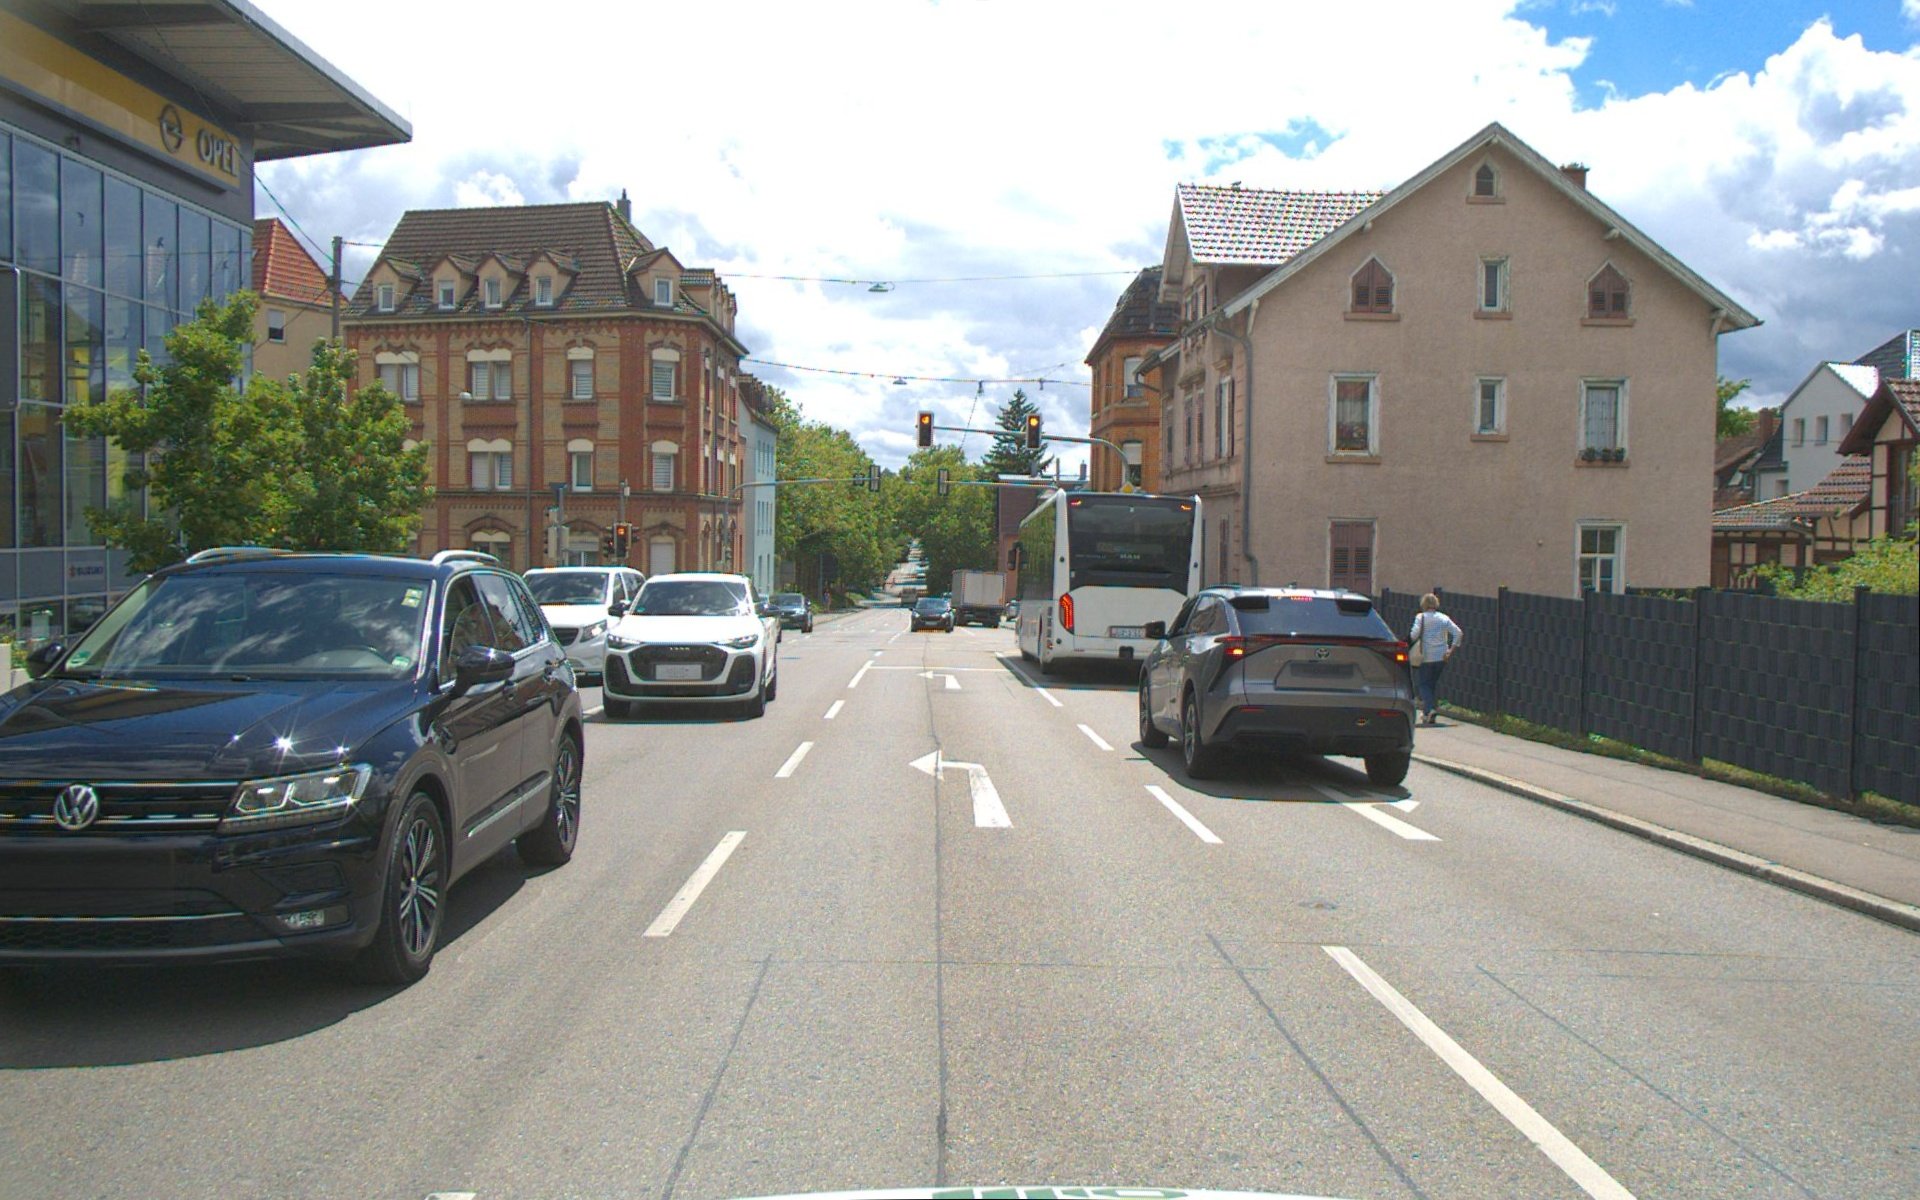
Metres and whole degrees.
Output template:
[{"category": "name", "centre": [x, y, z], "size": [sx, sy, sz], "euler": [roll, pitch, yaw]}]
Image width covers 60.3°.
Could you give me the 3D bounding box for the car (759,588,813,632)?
[{"category": "car", "centre": [-6.885, 0.373, 65.790], "size": [1.826, 1.695, 4.258], "euler": [0, 1, -2]}]

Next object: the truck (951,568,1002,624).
[{"category": "truck", "centre": [0.910, -0.292, 98.811], "size": [2.613, 3.162, 9.032], "euler": [-1, 1, -2]}]

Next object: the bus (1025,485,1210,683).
[{"category": "bus", "centre": [2.858, -0.263, 33.644], "size": [2.744, 3.254, 12.196], "euler": [1, 0, 1]}]

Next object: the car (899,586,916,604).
[{"category": "car", "centre": [-5.707, -0.568, 179.822], "size": [1.796, 1.914, 3.999], "euler": [0, 2, -2]}]

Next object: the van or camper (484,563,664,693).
[{"category": "van or camper", "centre": [-6.337, 0.403, 27.742], "size": [1.930, 1.948, 5.127], "euler": [1, 1, -2]}]

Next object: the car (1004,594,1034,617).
[{"category": "car", "centre": [4.261, 0.406, 120.184], "size": [1.891, 1.610, 4.207], "euler": [-1, 1, -1]}]

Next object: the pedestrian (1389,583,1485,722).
[{"category": "pedestrian", "centre": [5.767, 0.613, 20.055], "size": [0.796, 1.609, 1.069], "euler": [-1, 0, -1]}]

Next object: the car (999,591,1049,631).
[{"category": "car", "centre": [2.685, 0.428, 70.299], "size": [1.891, 1.610, 4.207], "euler": [-1, 1, -1]}]

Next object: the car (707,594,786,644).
[{"category": "car", "centre": [-6.082, 0.508, 47.484], "size": [1.826, 1.342, 4.258], "euler": [0, 1, -2]}]

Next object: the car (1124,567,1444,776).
[{"category": "car", "centre": [2.741, 0.520, 14.996], "size": [1.892, 1.610, 4.206], "euler": [1, 1, -3]}]

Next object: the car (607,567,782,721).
[{"category": "car", "centre": [-3.170, 0.468, 20.499], "size": [1.828, 1.685, 4.374], "euler": [1, 1, -5]}]

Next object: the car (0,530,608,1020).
[{"category": "car", "centre": [-2.877, 0.540, 7.359], "size": [1.826, 1.567, 4.106], "euler": [1, 1, -2]}]

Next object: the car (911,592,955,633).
[{"category": "car", "centre": [-1.196, 0.502, 71.072], "size": [1.826, 1.695, 4.258], "euler": [0, 1, -2]}]
